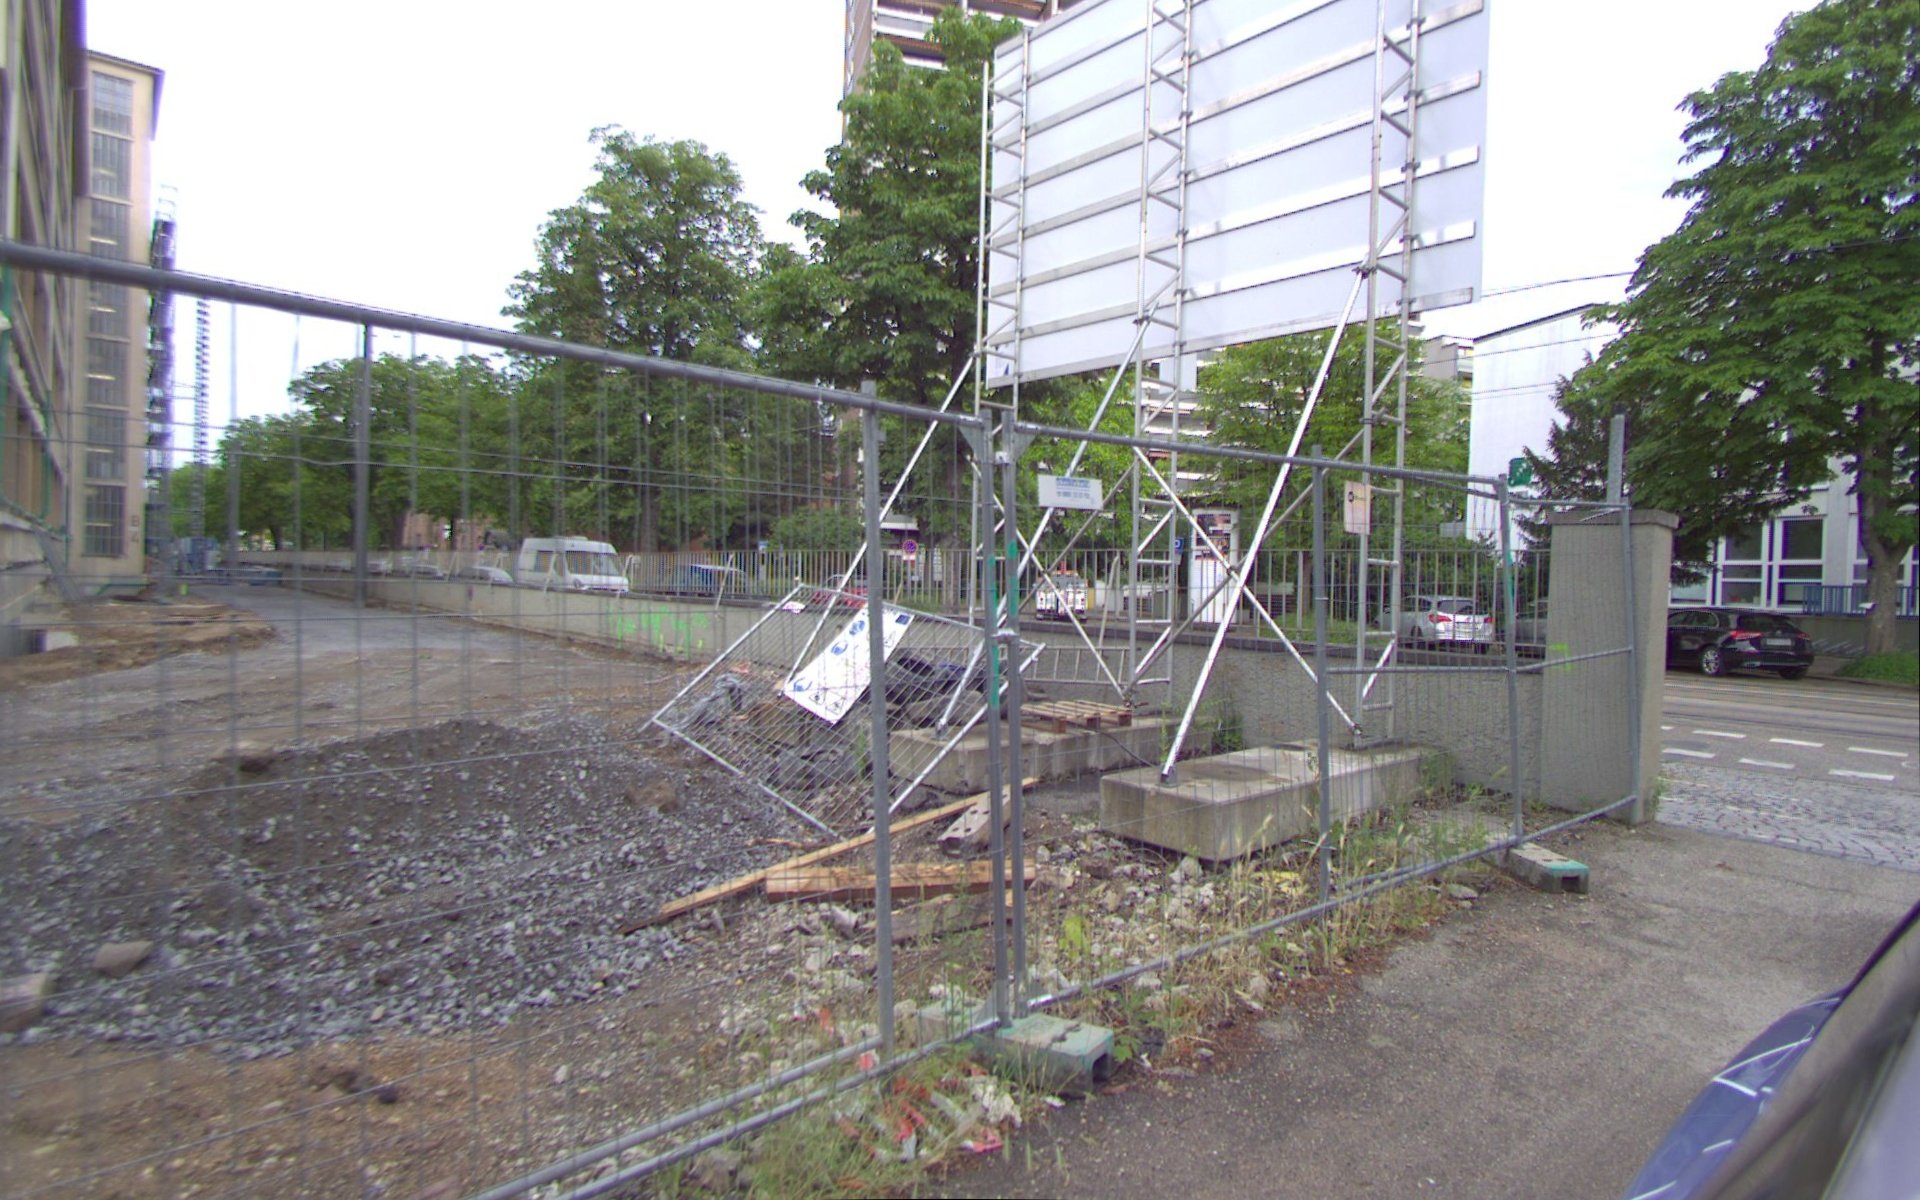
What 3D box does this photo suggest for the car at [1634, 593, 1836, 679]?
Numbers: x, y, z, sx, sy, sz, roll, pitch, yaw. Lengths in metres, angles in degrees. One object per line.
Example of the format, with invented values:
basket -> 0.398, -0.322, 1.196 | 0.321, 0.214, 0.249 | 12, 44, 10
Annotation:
car -> 16.514, 0.696, 21.825 | 1.670, 1.543, 3.702 | 1, 2, 5

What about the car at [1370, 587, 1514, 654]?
car -> 12.723, 0.468, 27.061 | 1.770, 1.482, 4.432 | 2, 2, 2

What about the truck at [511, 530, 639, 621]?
truck -> -12.272, -0.822, 32.057 | 2.082, 2.634, 5.485 | -1, 2, -40

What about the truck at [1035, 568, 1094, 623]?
truck -> 3.805, -0.243, 37.586 | 1.964, 1.871, 5.059 | 1, 2, 4

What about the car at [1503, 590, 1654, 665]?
car -> 14.628, 0.586, 24.155 | 1.545, 1.543, 3.648 | 1, 2, 5

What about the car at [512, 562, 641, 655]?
car -> -12.198, 0.169, 31.970 | 2.082, 2.634, 5.485 | 0, 2, -40

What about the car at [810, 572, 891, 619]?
car -> -4.013, -0.194, 36.805 | 1.653, 1.540, 2.778 | -1, 3, -41
